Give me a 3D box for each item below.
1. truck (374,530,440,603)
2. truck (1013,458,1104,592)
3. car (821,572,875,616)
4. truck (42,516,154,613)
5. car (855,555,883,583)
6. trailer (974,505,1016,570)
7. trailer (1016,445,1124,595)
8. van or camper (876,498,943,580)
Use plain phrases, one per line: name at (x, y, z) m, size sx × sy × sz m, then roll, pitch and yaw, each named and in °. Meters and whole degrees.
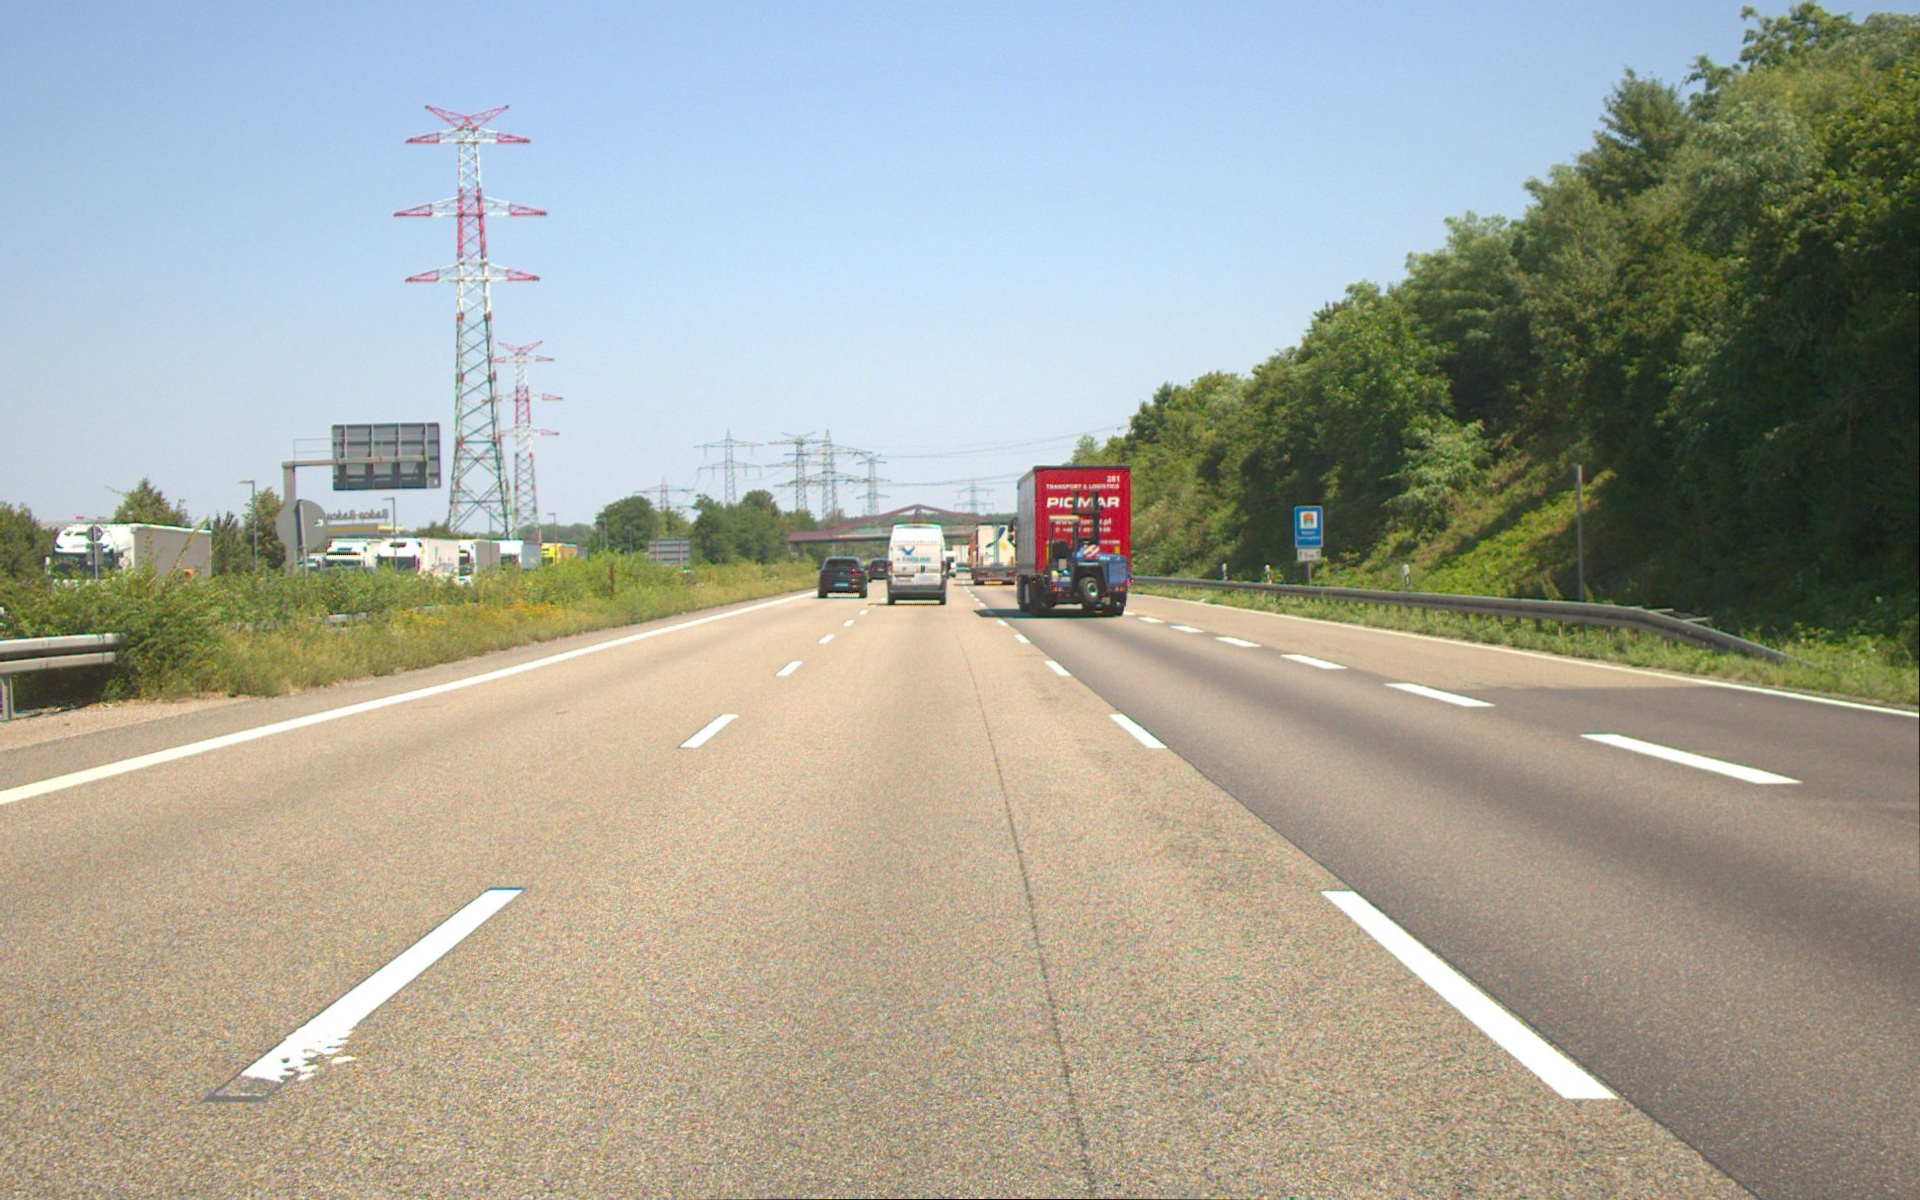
truck at (-32.105, -1.931, 199.858) m, size 2.581 × 4.174 × 7.937 m, roll 0°, pitch 1°, yaw 0°
truck at (2.920, -2.215, 103.593) m, size 2.499 × 3.906 × 7.097 m, roll 0°, pitch 0°, yaw 0°
car at (-4.637, -0.264, 143.155) m, size 1.982 × 1.811 × 3.812 m, roll 1°, pitch 1°, yaw 2°
truck at (-33.291, -1.379, 133.011) m, size 2.799 × 3.631 × 6.147 m, roll 1°, pitch 0°, yaw 0°
car at (-6.742, -2.274, 254.118) m, size 1.971 × 2.005 × 4.197 m, roll 1°, pitch 0°, yaw -1°
trailer at (2.302, -4.024, 223.794) m, size 2.637 × 4.047 × 12.366 m, roll 1°, pitch 1°, yaw 1°
trailer at (2.984, -2.147, 96.762) m, size 2.490 × 3.896 × 14.246 m, roll 0°, pitch 1°, yaw 0°
van or camper at (-1.732, -2.092, 120.035) m, size 2.230 × 2.773 × 5.423 m, roll 1°, pitch 0°, yaw 0°
